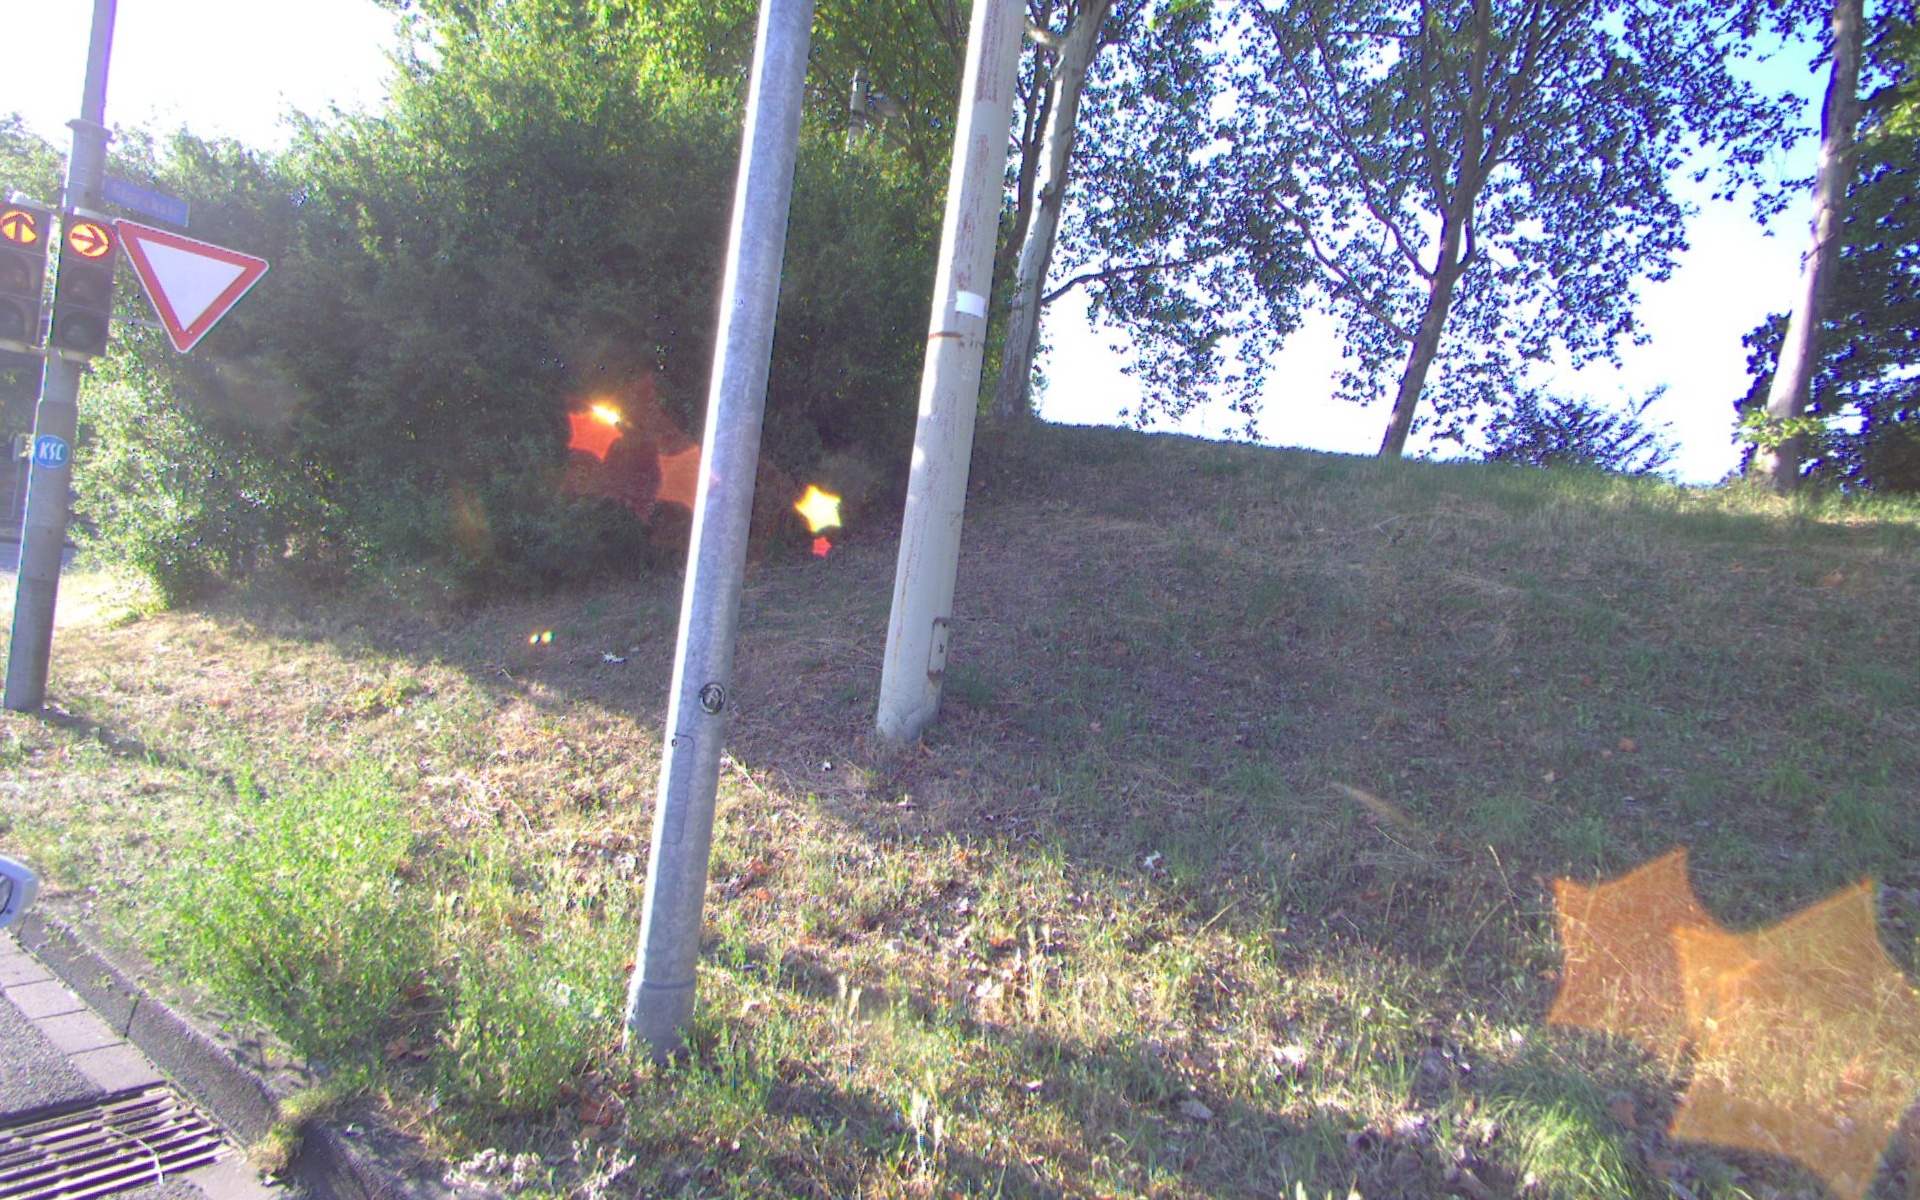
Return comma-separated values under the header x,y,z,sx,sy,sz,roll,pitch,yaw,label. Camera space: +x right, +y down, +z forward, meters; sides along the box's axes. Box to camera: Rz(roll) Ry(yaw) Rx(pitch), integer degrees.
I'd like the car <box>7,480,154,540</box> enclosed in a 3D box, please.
x,y,z,sx,sy,sz,roll,pitch,yaw,label
-40.258,-4.089,46.231,1.962,1.928,4.710,7,-1,11,car
